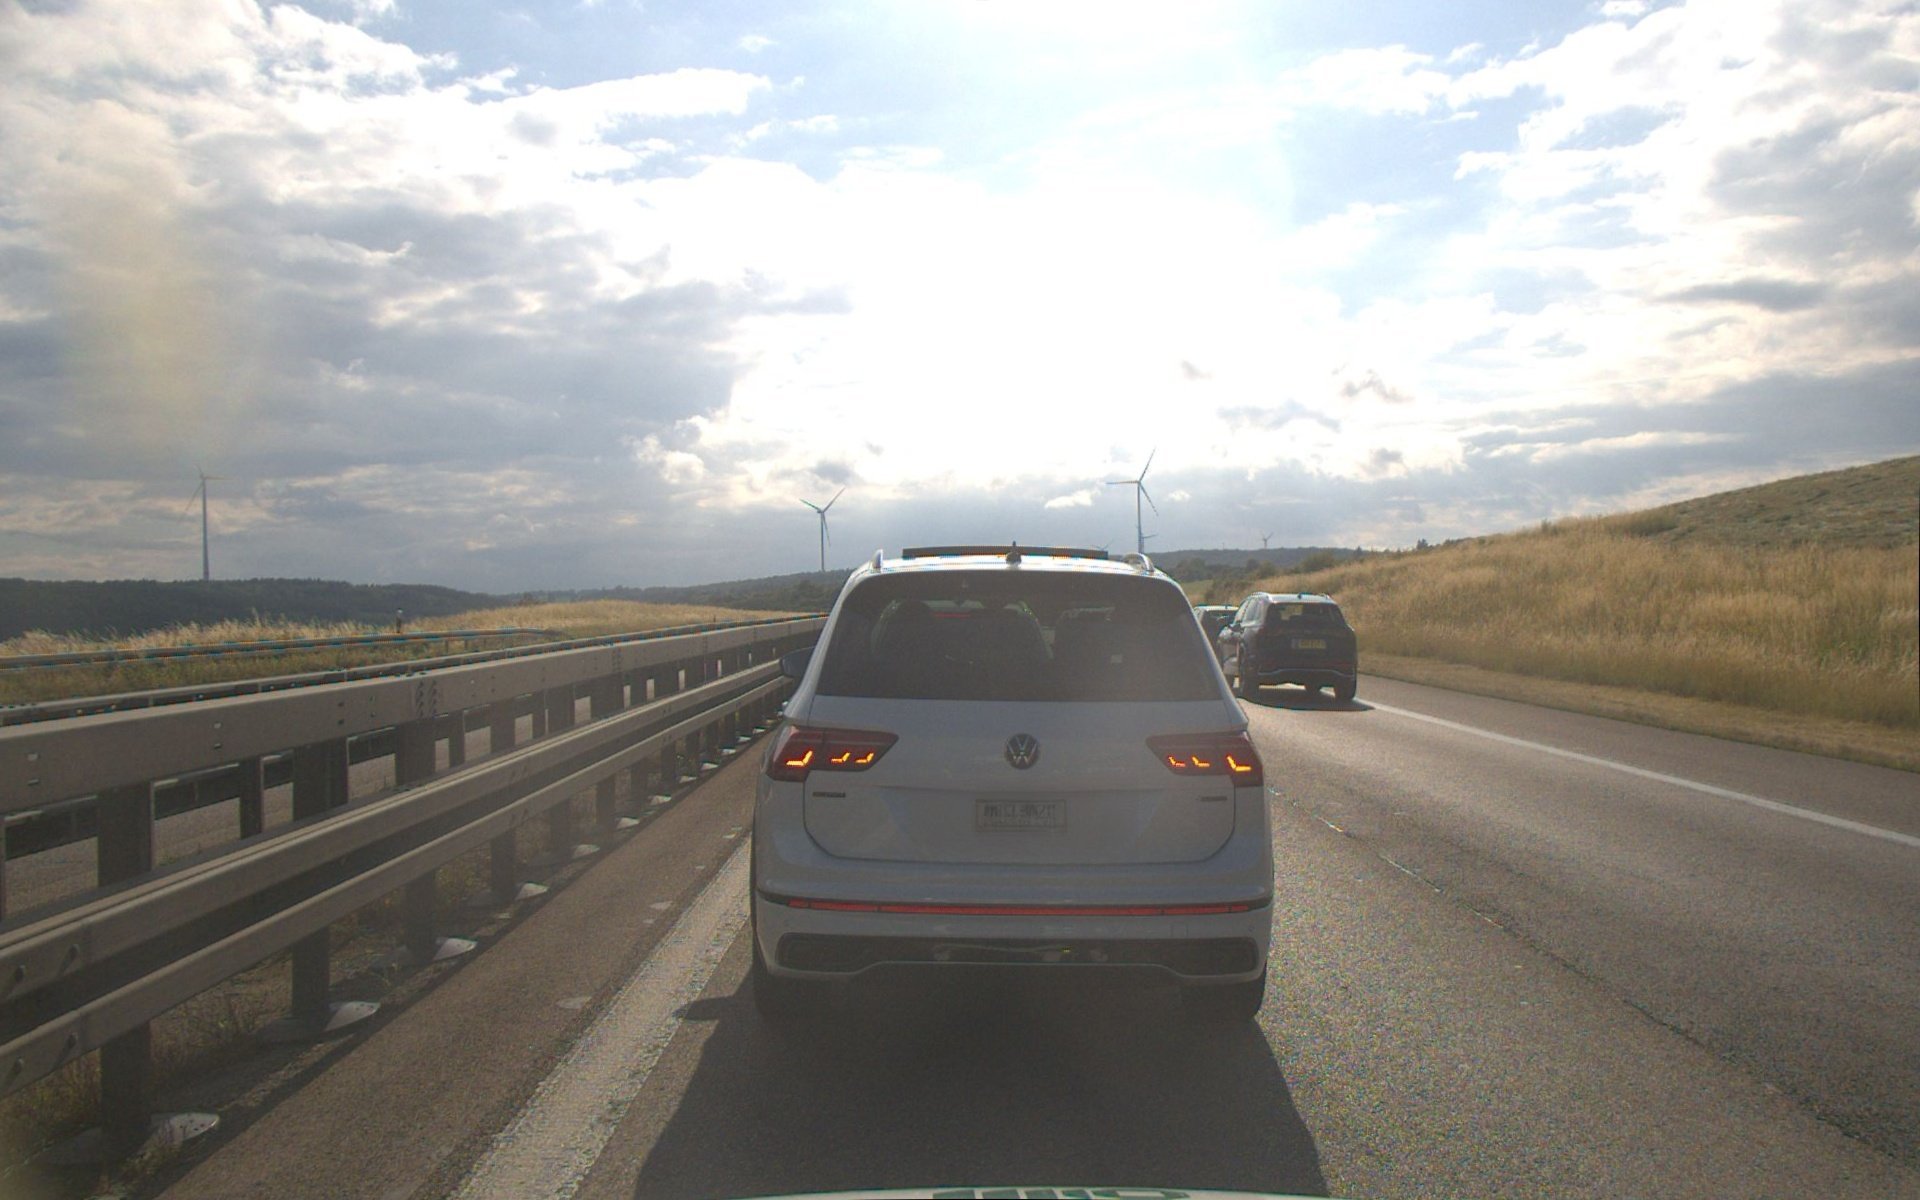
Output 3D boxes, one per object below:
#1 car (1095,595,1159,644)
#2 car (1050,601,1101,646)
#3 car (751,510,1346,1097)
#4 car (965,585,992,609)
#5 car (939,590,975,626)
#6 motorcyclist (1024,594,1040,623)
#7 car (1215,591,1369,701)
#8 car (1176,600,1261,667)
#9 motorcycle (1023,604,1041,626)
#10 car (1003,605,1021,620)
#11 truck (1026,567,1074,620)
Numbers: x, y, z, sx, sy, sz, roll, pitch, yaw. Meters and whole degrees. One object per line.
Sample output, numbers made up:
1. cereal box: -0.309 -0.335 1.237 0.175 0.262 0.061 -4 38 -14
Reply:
1. car: 5.488 0.639 54.737 1.669 1.573 3.999 0 0 -1
2. car: 4.496 0.907 64.959 1.669 1.679 3.999 0 0 -1
3. car: 0.237 0.605 6.828 1.734 1.705 3.999 0 0 -1
4. car: 1.225 -0.202 110.131 1.669 1.573 3.999 0 0 -1
5. car: -0.171 0.387 80.060 1.669 1.679 3.999 0 0 -1
6. motorcyclist: 4.020 0.479 92.727 0.832 1.587 0.934 0 -1 -1
7. car: 5.449 0.724 27.641 1.783 1.629 4.235 2 0 2
8. car: 5.858 0.731 37.811 1.572 1.445 3.674 0 0 3
9. motorcycle: 4.015 0.842 92.769 0.877 1.211 2.256 0 0 -1
10. car: 5.569 1.345 177.380 1.669 1.573 3.999 0 0 -1
11. truck: 6.532 -0.487 121.383 3.118 3.656 11.132 0 0 1
